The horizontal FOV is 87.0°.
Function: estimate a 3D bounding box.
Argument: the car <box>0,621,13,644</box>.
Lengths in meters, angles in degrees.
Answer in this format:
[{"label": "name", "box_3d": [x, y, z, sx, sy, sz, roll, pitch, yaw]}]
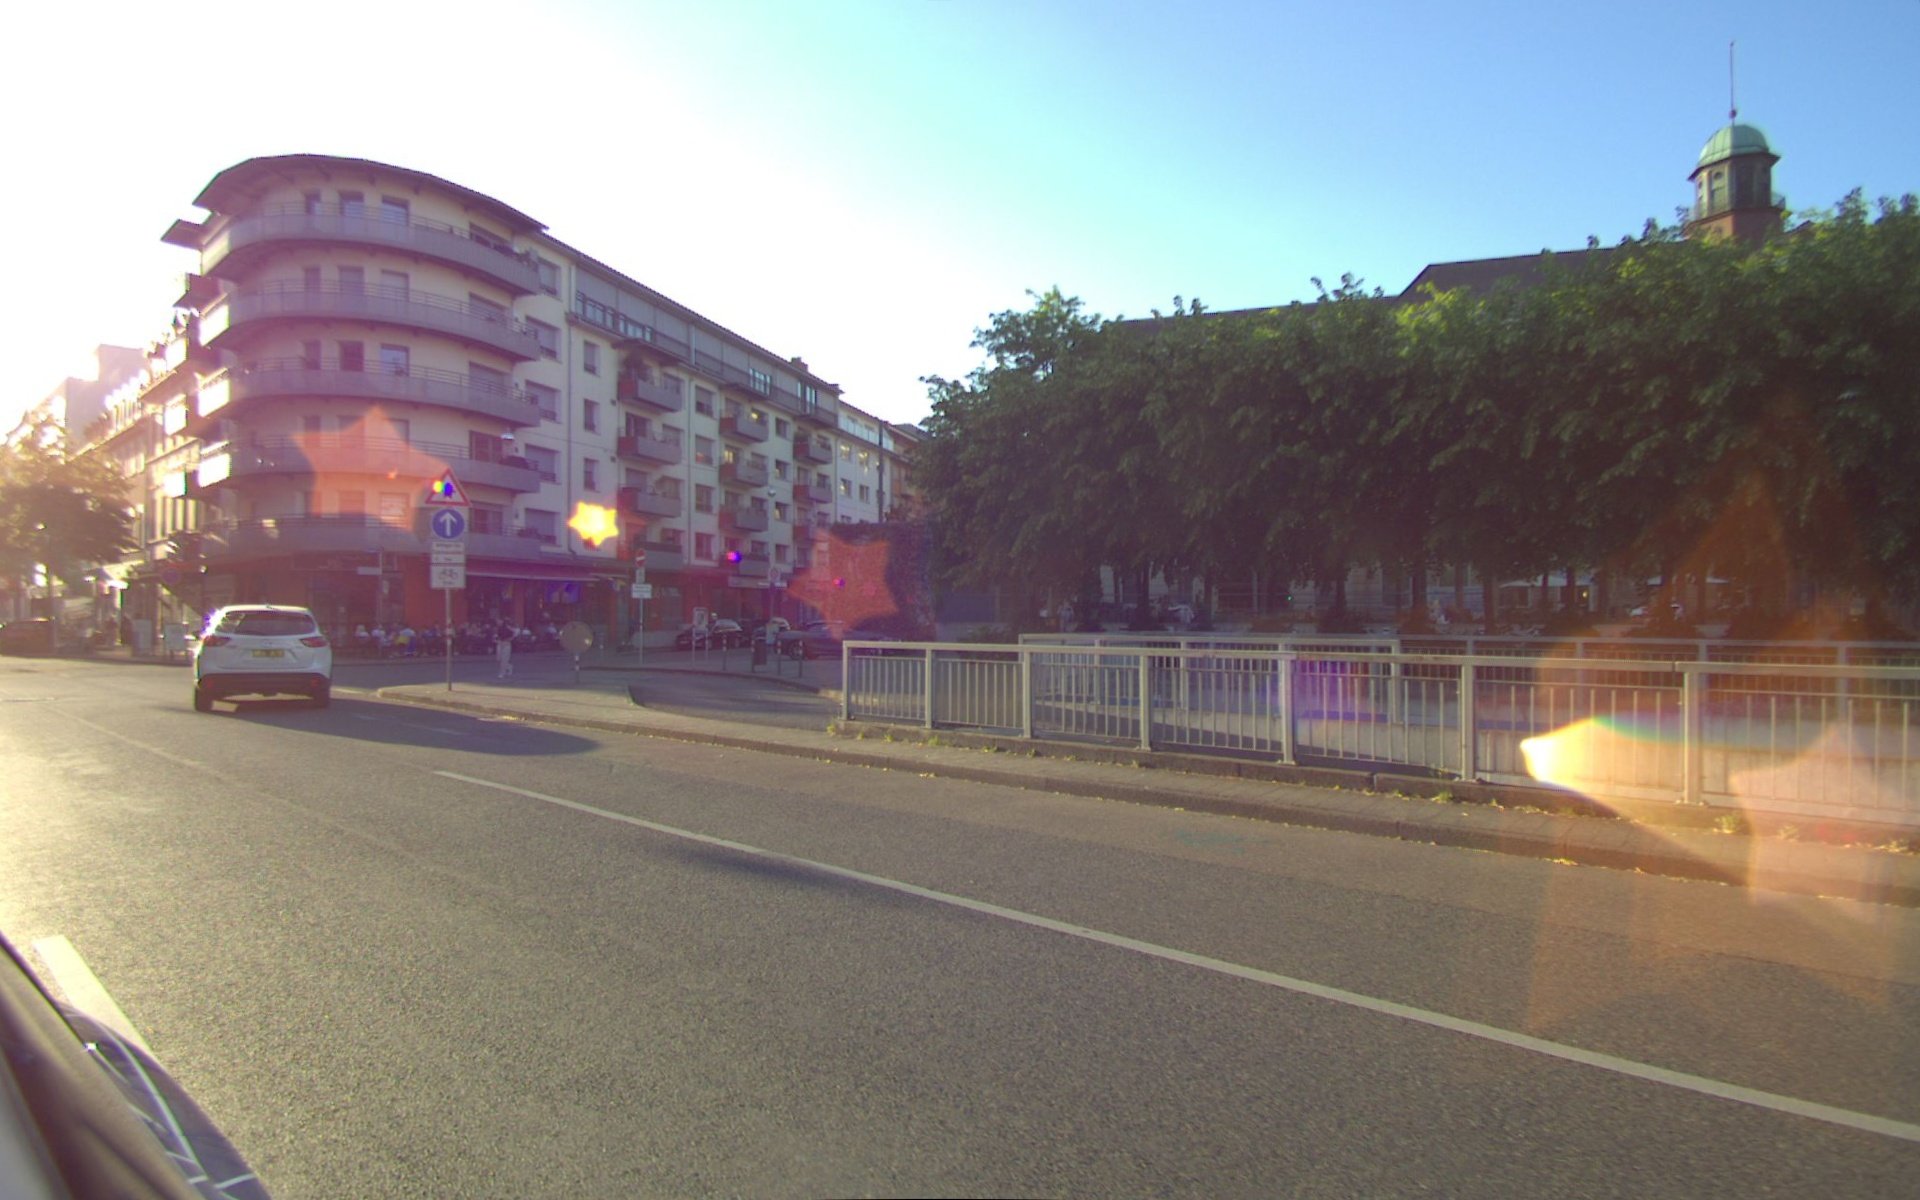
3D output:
[{"label": "car", "box_3d": [-68.075, 2.303, 69.401, 1.888, 1.608, 4.362, -2, -1, 40]}]

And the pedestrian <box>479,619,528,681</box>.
[{"label": "pedestrian", "box_3d": [-11.899, 1.292, 26.384, 0.761, 1.579, 0.896, -1, -2, 16]}]

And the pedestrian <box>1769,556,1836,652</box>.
[{"label": "pedestrian", "box_3d": [14.462, 0.068, 17.386, 0.672, 1.607, 0.698, -1, -1, 23]}]

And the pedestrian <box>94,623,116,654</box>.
[{"label": "pedestrian", "box_3d": [-44.909, 2.017, 53.160, 0.875, 1.539, 0.726, 0, 1, 41]}]

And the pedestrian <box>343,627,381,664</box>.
[{"label": "pedestrian", "box_3d": [-20.971, 1.572, 35.491, 0.765, 1.251, 0.890, 1, -1, 32]}]

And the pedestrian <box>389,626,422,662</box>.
[{"label": "pedestrian", "box_3d": [-20.061, 1.569, 36.618, 0.827, 1.256, 0.715, 1, -1, 35]}]

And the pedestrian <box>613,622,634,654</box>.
[{"label": "pedestrian", "box_3d": [-15.897, 1.774, 47.826, 0.616, 1.480, 0.698, 1, -1, 15]}]

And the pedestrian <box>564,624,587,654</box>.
[{"label": "pedestrian", "box_3d": [-17.137, 1.738, 45.092, 0.696, 1.297, 0.618, 1, -1, 20]}]

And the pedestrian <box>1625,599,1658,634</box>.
[{"label": "pedestrian", "box_3d": [21.006, 0.508, 31.202, 0.605, 1.067, 0.711, -1, -1, 16]}]

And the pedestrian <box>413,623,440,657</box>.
[{"label": "pedestrian", "box_3d": [-20.539, 1.537, 38.942, 0.699, 1.256, 0.615, 1, -1, 32]}]

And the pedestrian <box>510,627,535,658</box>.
[{"label": "pedestrian", "box_3d": [-18.181, 1.762, 42.041, 0.698, 1.234, 0.616, 1, -1, 28]}]

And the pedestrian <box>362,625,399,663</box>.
[{"label": "pedestrian", "box_3d": [-20.254, 1.542, 35.373, 0.746, 1.283, 0.820, 1, -1, 32]}]

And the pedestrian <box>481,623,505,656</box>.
[{"label": "pedestrian", "box_3d": [-19.182, 1.611, 41.558, 0.699, 1.343, 0.615, 1, -1, 32]}]

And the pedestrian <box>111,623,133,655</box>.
[{"label": "pedestrian", "box_3d": [-44.434, 2.045, 53.674, 0.875, 1.620, 0.764, 0, 1, 41]}]

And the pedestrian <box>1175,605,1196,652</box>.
[{"label": "pedestrian", "box_3d": [7.897, 0.981, 35.390, 0.648, 1.598, 0.787, 1, -1, 16]}]

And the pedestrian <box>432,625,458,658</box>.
[{"label": "pedestrian", "box_3d": [-20.148, 1.611, 39.590, 0.699, 1.256, 0.615, 1, -1, 32]}]

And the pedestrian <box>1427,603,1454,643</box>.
[{"label": "pedestrian", "box_3d": [15.709, 0.742, 33.093, 0.648, 1.289, 0.787, 1, -1, 16]}]

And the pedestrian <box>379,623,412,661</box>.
[{"label": "pedestrian", "box_3d": [-20.810, 1.524, 37.311, 0.827, 1.358, 0.740, 1, -1, 35]}]

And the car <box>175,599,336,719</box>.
[{"label": "car", "box_3d": [-11.981, 0.918, 17.429, 1.966, 1.774, 4.478, 2, -2, -33]}]

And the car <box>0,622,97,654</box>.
[{"label": "car", "box_3d": [-45.538, 1.850, 49.707, 1.820, 1.418, 4.525, -1, 0, 39]}]

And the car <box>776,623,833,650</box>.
[{"label": "car", "box_3d": [-9.537, 2.226, 62.426, 1.954, 1.608, 3.977, -1, -1, 18]}]

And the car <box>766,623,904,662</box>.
[{"label": "car", "box_3d": [-4.399, 1.507, 35.829, 4.479, 1.328, 1.993, -1, -2, 11]}]

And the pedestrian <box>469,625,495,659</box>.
[{"label": "pedestrian", "box_3d": [-18.819, 1.659, 39.853, 0.699, 1.297, 0.615, 1, -1, 32]}]

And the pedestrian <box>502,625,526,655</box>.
[{"label": "pedestrian", "box_3d": [-19.048, 1.699, 43.198, 0.698, 1.234, 0.616, 1, -1, 28]}]

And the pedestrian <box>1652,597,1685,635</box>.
[{"label": "pedestrian", "box_3d": [21.629, 0.483, 30.897, 0.605, 1.128, 0.711, -1, -1, 16]}]

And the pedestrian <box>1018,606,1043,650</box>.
[{"label": "pedestrian", "box_3d": [2.609, 1.020, 37.222, 0.763, 1.598, 0.686, 1, -1, 18]}]

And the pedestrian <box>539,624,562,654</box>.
[{"label": "pedestrian", "box_3d": [-18.276, 1.721, 45.152, 0.696, 1.297, 0.618, 1, -1, 20]}]

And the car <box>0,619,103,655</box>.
[{"label": "car", "box_3d": [-43.626, 1.726, 48.246, 1.883, 1.548, 4.030, -1, 0, 41]}]

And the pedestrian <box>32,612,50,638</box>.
[{"label": "pedestrian", "box_3d": [-62.571, 1.673, 68.896, 0.875, 1.734, 0.764, 0, 1, 41]}]

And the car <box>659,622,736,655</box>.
[{"label": "car", "box_3d": [-13.197, 1.921, 51.137, 1.954, 1.608, 3.977, -1, -1, 18]}]

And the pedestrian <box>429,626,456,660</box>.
[{"label": "pedestrian", "box_3d": [-19.708, 1.635, 38.538, 0.699, 1.256, 0.615, 1, -1, 32]}]

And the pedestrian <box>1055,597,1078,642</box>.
[{"label": "pedestrian", "box_3d": [3.889, 0.700, 36.855, 0.696, 1.598, 0.618, 1, -1, 18]}]

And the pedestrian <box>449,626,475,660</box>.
[{"label": "pedestrian", "box_3d": [-19.267, 1.655, 39.183, 0.699, 1.256, 0.615, 1, -1, 32]}]

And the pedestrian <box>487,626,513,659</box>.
[{"label": "pedestrian", "box_3d": [-18.511, 1.700, 40.719, 0.699, 1.297, 0.615, 1, -1, 32]}]

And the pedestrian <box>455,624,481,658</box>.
[{"label": "pedestrian", "box_3d": [-19.711, 1.637, 40.538, 0.699, 1.297, 0.649, 1, -1, 32]}]

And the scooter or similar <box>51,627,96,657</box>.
[{"label": "scooter or similar", "box_3d": [-37.841, 1.790, 43.203, 0.525, 1.235, 1.385, -1, -1, 38]}]

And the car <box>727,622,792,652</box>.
[{"label": "car", "box_3d": [-11.277, 2.074, 57.088, 1.954, 1.608, 3.977, -1, -1, 18]}]
